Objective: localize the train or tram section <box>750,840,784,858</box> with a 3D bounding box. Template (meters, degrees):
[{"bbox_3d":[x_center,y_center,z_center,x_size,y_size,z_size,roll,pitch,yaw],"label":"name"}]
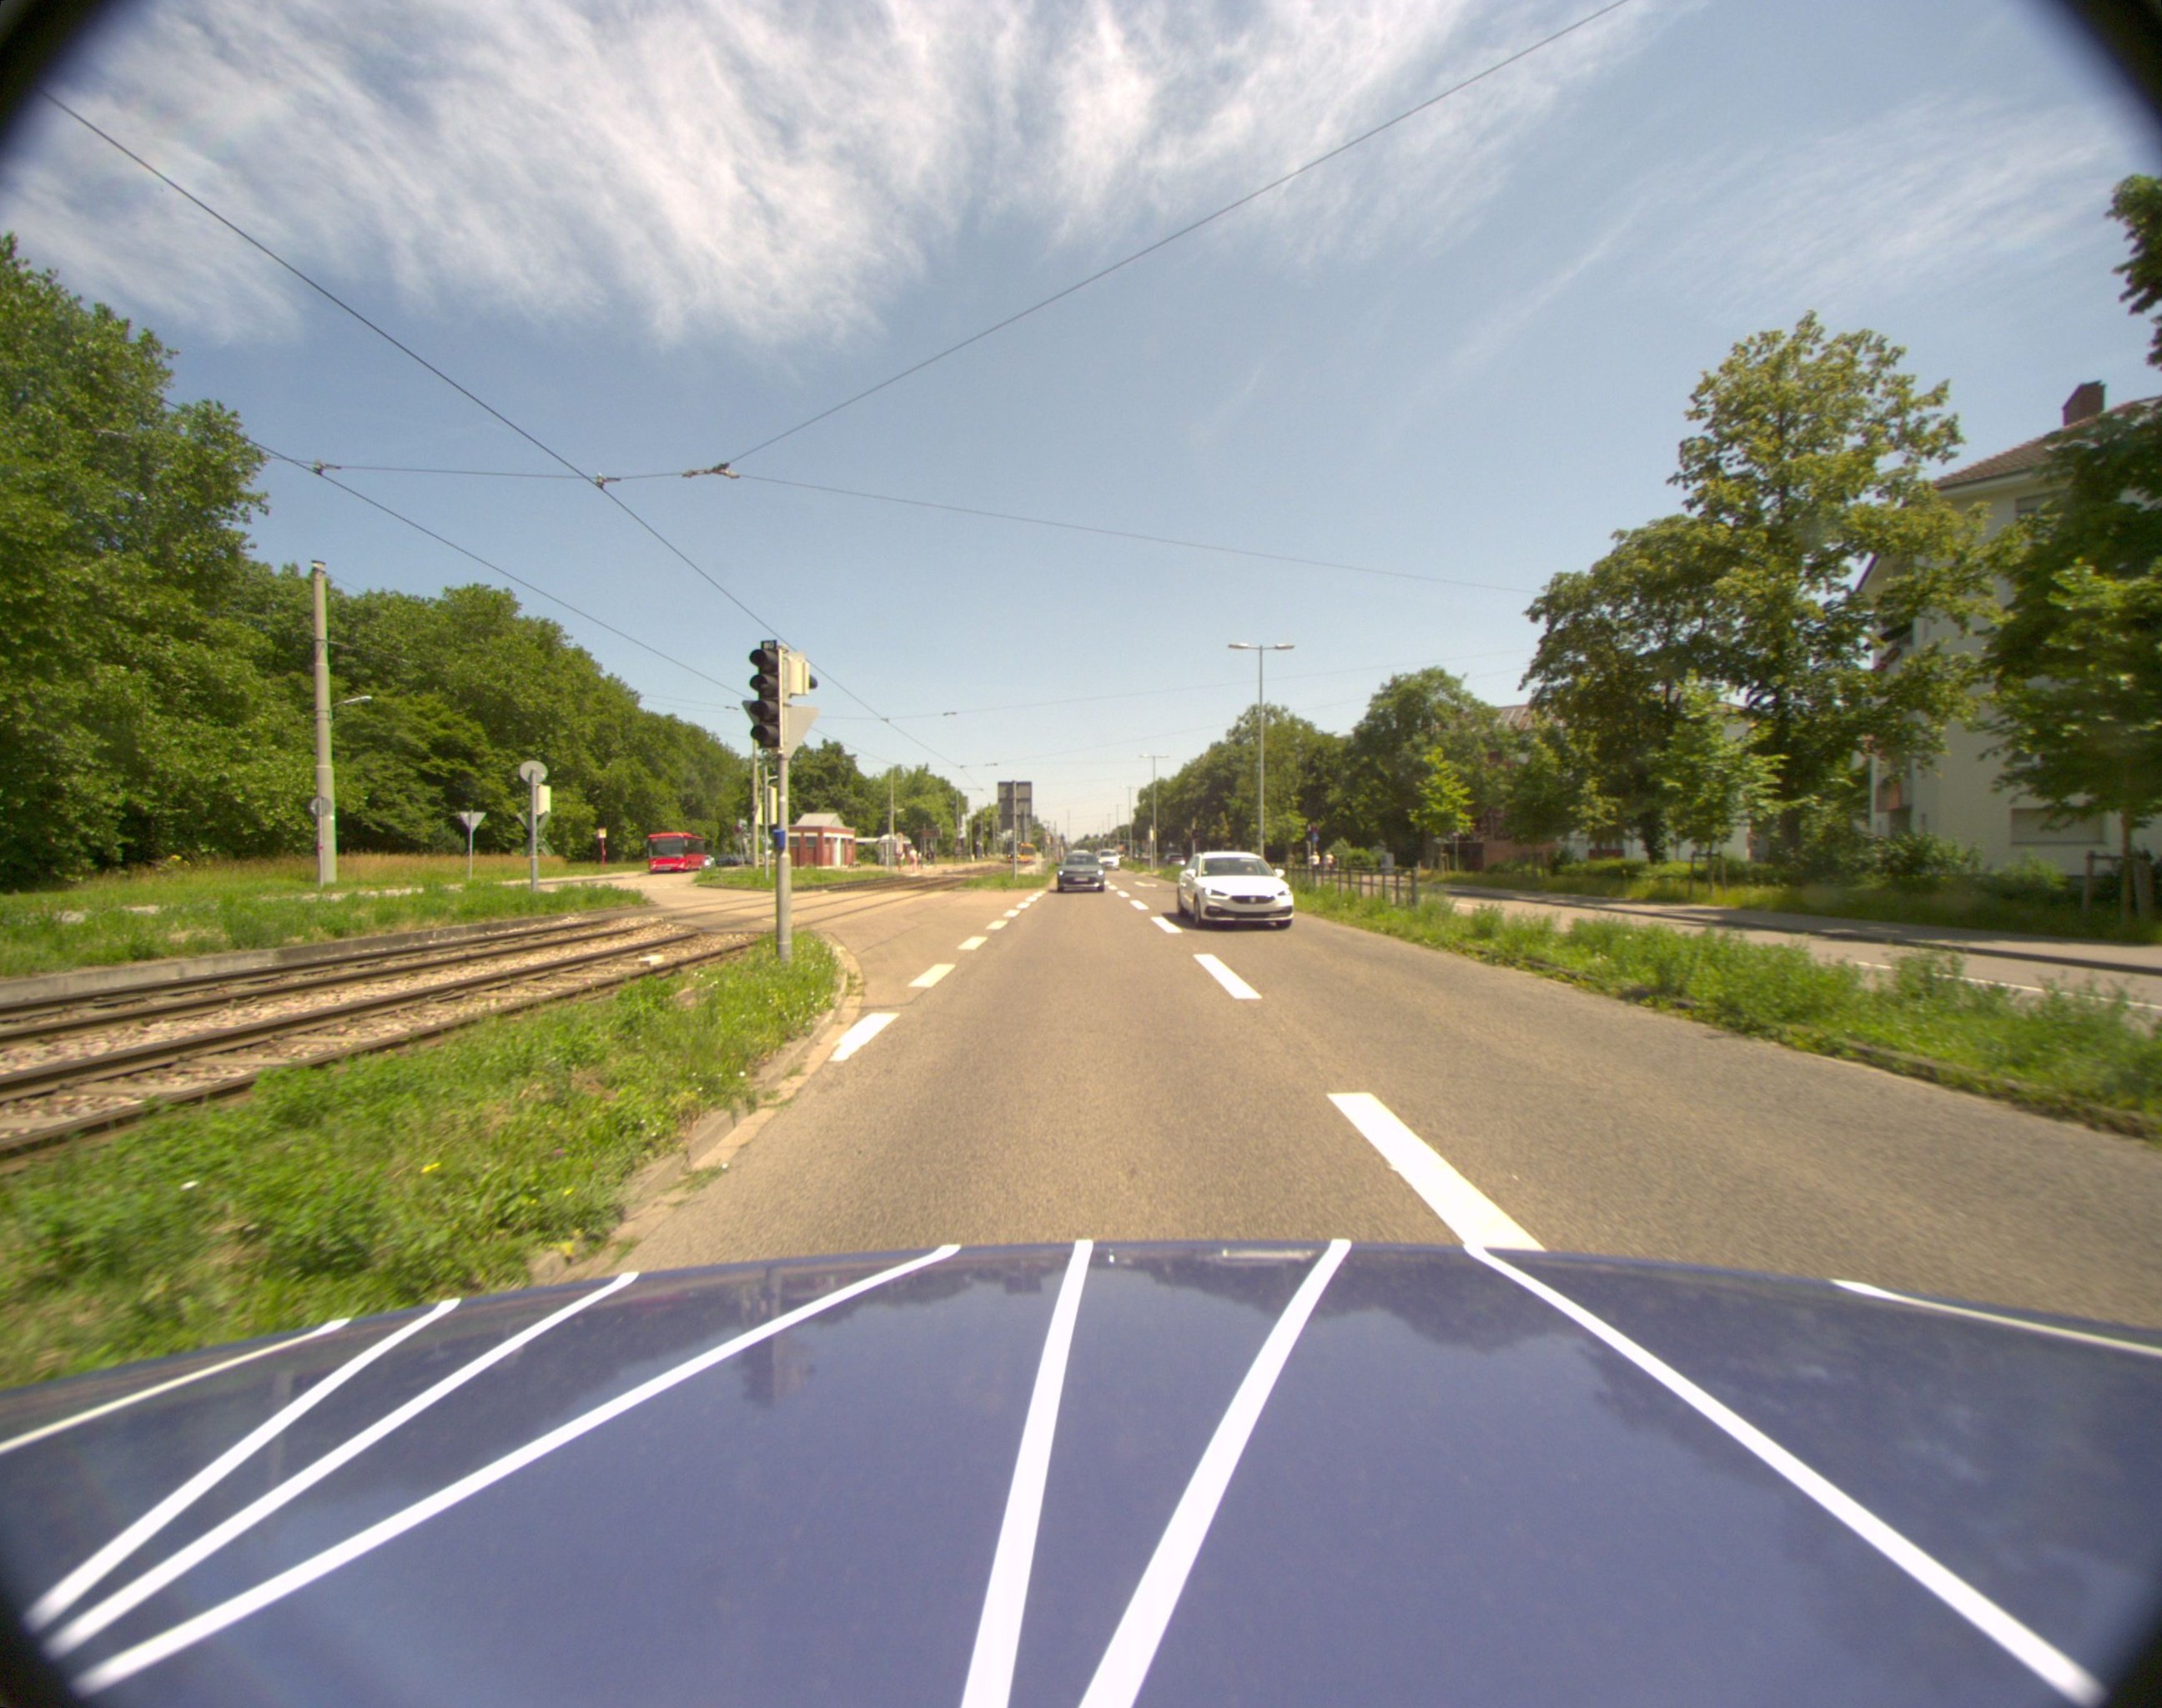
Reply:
[{"bbox_3d":[-67.186,-1.092,162.323,2.721,3.598,13.213,0,1,-40],"label":"train or tram section"}]

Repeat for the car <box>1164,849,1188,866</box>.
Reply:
[{"bbox_3d":[9.026,0.297,72.372,1.760,1.534,4.160,0,1,0],"label":"car"}]

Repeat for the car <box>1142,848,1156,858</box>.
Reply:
[{"bbox_3d":[11.768,-0.186,131.514,1.826,1.563,4.345,0,1,-2],"label":"car"}]

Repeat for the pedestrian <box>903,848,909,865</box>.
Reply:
[{"bbox_3d":[-17.754,0.240,77.247,0.382,1.764,0.740,0,1,3],"label":"pedestrian"}]

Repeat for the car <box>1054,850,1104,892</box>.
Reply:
[{"bbox_3d":[-0.021,0.612,29.917,1.787,1.554,4.135,0,0,2],"label":"car"}]

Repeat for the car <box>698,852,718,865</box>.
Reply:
[{"bbox_3d":[-37.617,0.466,76.719,1.575,1.259,3.992,0,1,-23],"label":"car"}]

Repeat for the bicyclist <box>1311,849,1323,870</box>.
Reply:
[{"bbox_3d":[15.321,0.370,49.381,0.546,1.338,0.755,0,1,-1],"label":"bicyclist"}]

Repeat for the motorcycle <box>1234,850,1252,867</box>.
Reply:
[{"bbox_3d":[12.669,0.363,59.407,0.807,1.291,2.394,0,1,-2],"label":"motorcycle"}]

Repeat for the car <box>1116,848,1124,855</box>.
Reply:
[{"bbox_3d":[10.653,-0.695,208.258,1.998,2.002,4.000,0,1,1],"label":"car"}]

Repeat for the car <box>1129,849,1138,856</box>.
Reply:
[{"bbox_3d":[14.435,-0.440,209.677,1.865,1.748,4.478,0,1,-4],"label":"car"}]

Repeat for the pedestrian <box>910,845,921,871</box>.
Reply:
[{"bbox_3d":[-11.329,0.257,52.031,0.637,1.749,0.815,-2,2,-13],"label":"pedestrian"}]

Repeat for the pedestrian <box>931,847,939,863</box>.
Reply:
[{"bbox_3d":[-16.145,0.146,84.073,0.707,1.754,0.657,0,1,2],"label":"pedestrian"}]

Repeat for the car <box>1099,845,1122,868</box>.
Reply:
[{"bbox_3d":[2.633,0.173,68.154,1.998,2.002,4.000,0,1,2],"label":"car"}]

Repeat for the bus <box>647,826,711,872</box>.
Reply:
[{"bbox_3d":[-33.191,-0.480,63.243,2.770,3.419,12.422,-2,1,-19],"label":"bus"}]

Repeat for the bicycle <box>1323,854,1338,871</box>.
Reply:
[{"bbox_3d":[16.141,0.542,49.194,0.555,1.088,1.379,-2,2,1],"label":"bicycle"}]

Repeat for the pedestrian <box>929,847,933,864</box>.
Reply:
[{"bbox_3d":[-14.307,0.168,72.458,0.361,1.637,0.445,0,1,3],"label":"pedestrian"}]

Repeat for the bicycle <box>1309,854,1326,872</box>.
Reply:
[{"bbox_3d":[15.337,0.574,49.245,0.590,1.126,1.615,0,1,0],"label":"bicycle"}]

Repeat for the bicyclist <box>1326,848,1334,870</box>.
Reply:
[{"bbox_3d":[16.118,0.303,49.156,0.358,1.384,0.440,-2,1,3],"label":"bicyclist"}]

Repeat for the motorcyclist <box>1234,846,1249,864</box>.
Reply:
[{"bbox_3d":[12.628,0.051,59.704,0.738,1.395,1.511,0,1,-6],"label":"motorcyclist"}]

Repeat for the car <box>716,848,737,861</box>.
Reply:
[{"bbox_3d":[-43.734,0.057,93.849,1.890,1.502,3.993,0,1,-19],"label":"car"}]

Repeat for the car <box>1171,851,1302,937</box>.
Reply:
[{"bbox_3d":[3.005,0.698,15.537,1.772,1.460,4.111,-2,1,0],"label":"car"}]

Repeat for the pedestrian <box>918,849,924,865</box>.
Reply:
[{"bbox_3d":[-15.330,0.277,72.741,0.361,1.587,0.483,-2,2,3],"label":"pedestrian"}]

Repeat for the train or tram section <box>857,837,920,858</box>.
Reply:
[{"bbox_3d":[-35.688,-1.199,140.529,13.150,3.629,2.720,-1,2,30],"label":"train or tram section"}]

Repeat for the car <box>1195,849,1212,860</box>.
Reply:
[{"bbox_3d":[19.503,0.062,121.076,1.998,1.576,4.000,0,0,0],"label":"car"}]

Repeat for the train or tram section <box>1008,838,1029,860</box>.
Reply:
[{"bbox_3d":[-9.678,-0.811,118.735,2.524,3.303,7.260,0,0,1],"label":"train or tram section"}]
